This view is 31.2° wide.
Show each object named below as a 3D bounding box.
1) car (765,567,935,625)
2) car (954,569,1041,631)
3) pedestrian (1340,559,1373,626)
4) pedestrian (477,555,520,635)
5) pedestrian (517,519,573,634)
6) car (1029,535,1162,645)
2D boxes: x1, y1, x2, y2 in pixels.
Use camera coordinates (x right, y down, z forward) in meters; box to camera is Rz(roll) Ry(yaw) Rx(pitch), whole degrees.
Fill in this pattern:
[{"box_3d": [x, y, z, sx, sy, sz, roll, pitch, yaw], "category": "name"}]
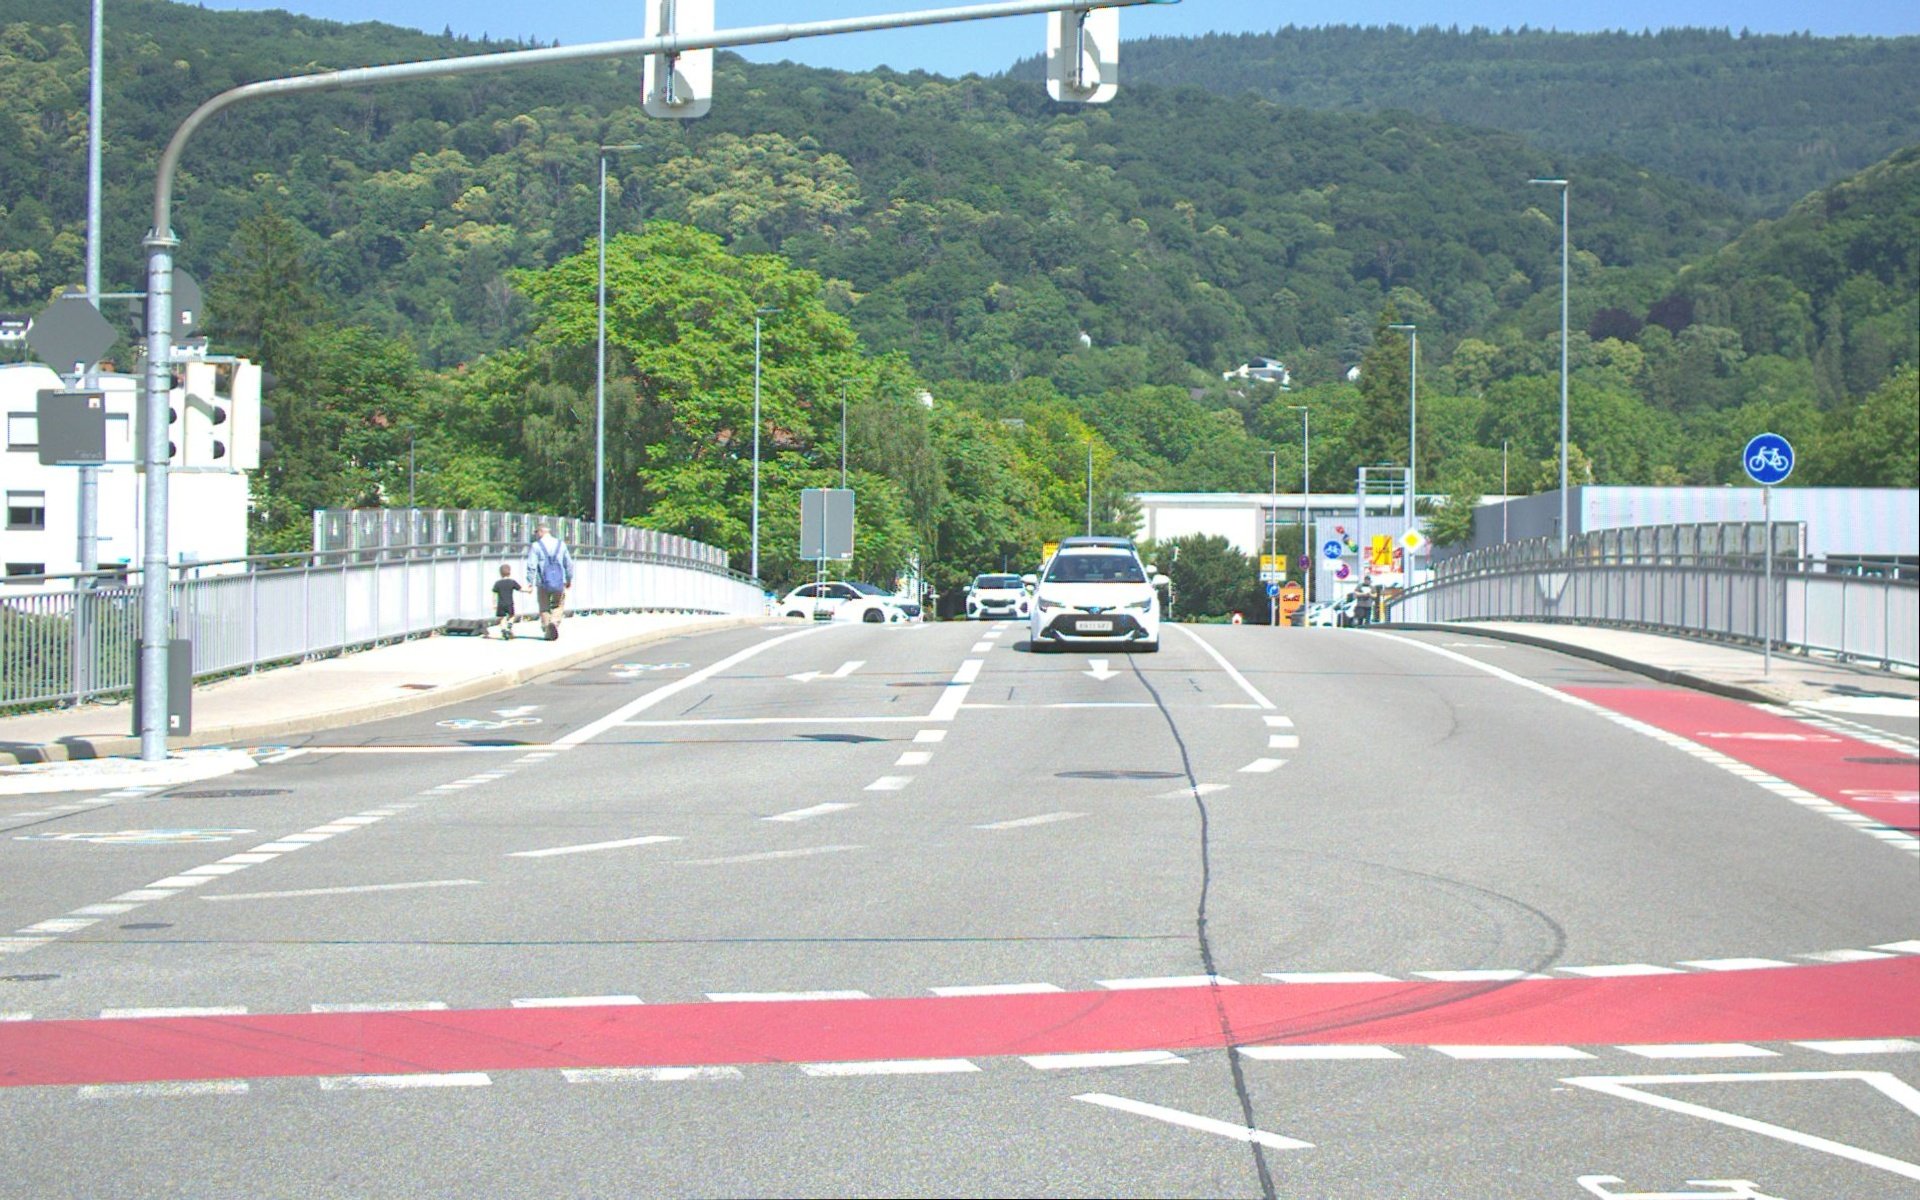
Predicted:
[{"box_3d": [-3.442, -0.134, 107.119, 5.055, 1.713, 1.996, 1, 1, 33], "category": "car"}, {"box_3d": [1.055, -0.015, 99.433, 1.993, 1.713, 4.634, 1, 1, -6], "category": "car"}, {"box_3d": [12.005, -0.235, 104.121, 0.855, 2.007, 1.155, 1, 1, 2], "category": "pedestrian"}, {"box_3d": [-6.484, -0.073, 48.305, 0.511, 1.117, 0.476, 1, 1, 1], "category": "pedestrian"}, {"box_3d": [-5.852, -0.336, 48.534, 0.643, 1.612, 0.921, 1, 1, 1], "category": "pedestrian"}, {"box_3d": [1.873, -0.162, 48.608, 1.731, 1.464, 4.410, 1, 1, 1], "category": "car"}]
